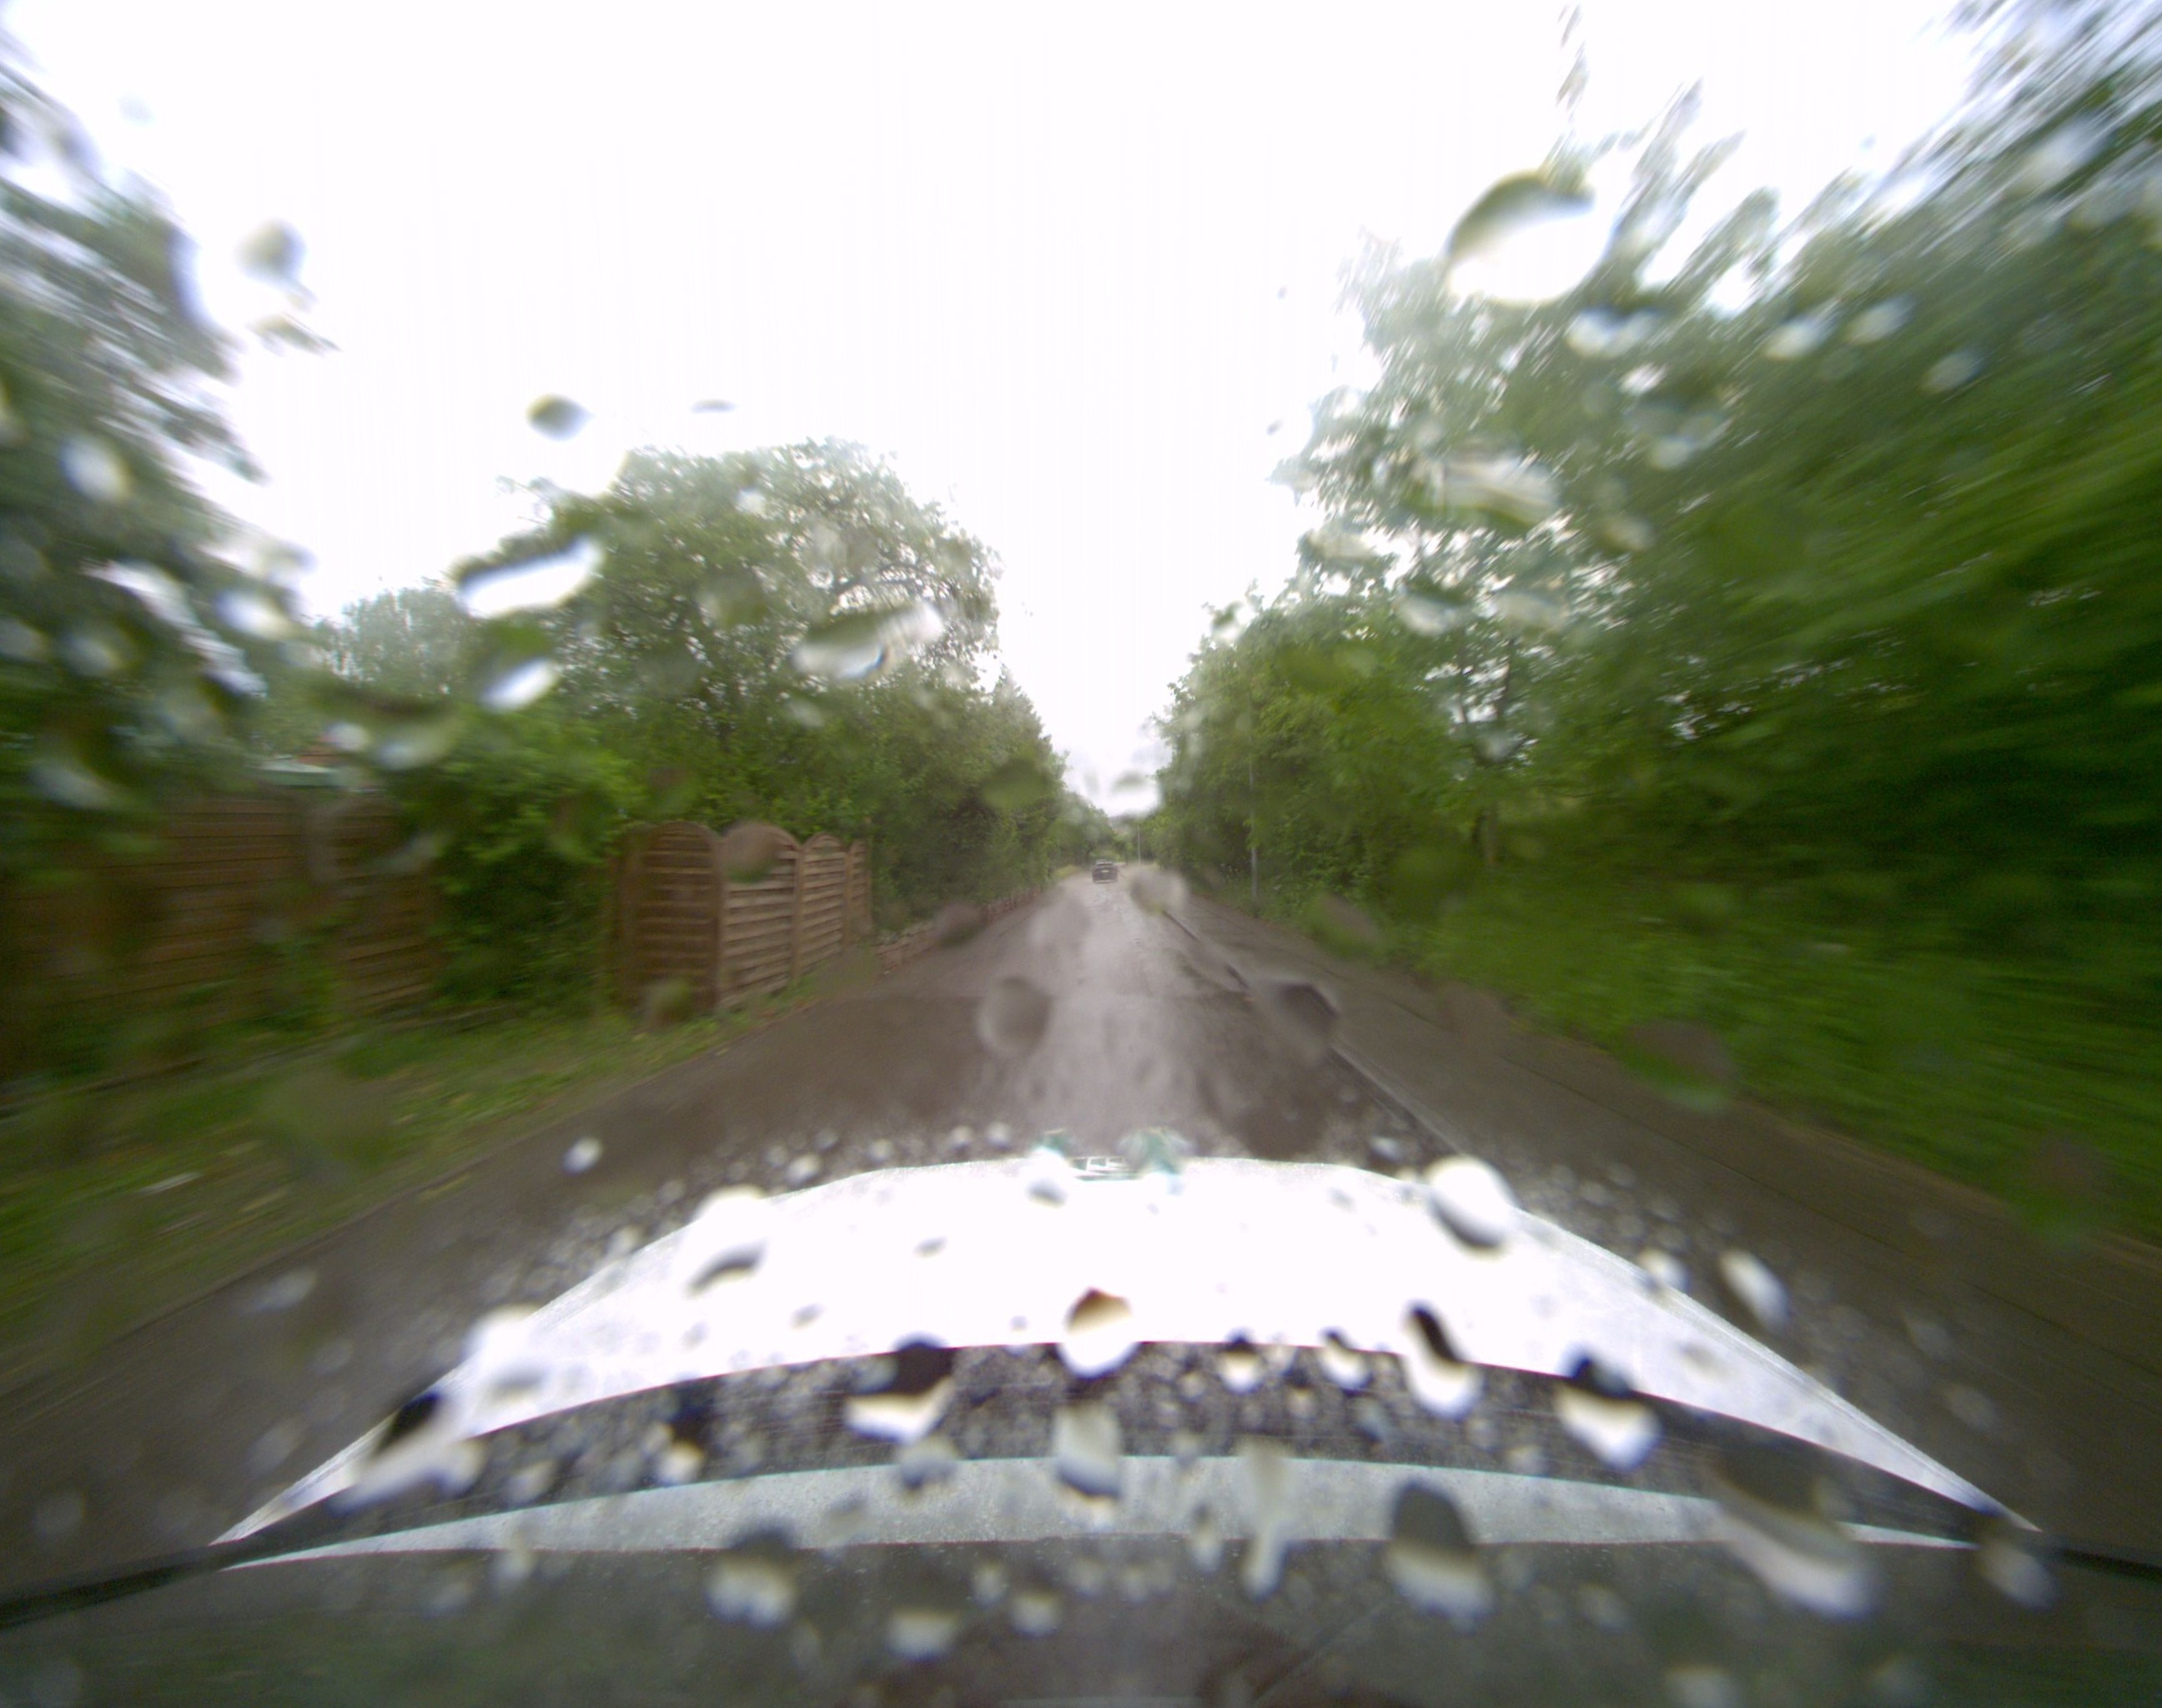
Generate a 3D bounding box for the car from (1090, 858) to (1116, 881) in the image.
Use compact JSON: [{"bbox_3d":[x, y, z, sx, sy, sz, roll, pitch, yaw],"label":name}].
[{"bbox_3d":[1.550,1.105,57.116,1.628,1.450,3.547,-2,-2,3],"label":"car"}]
